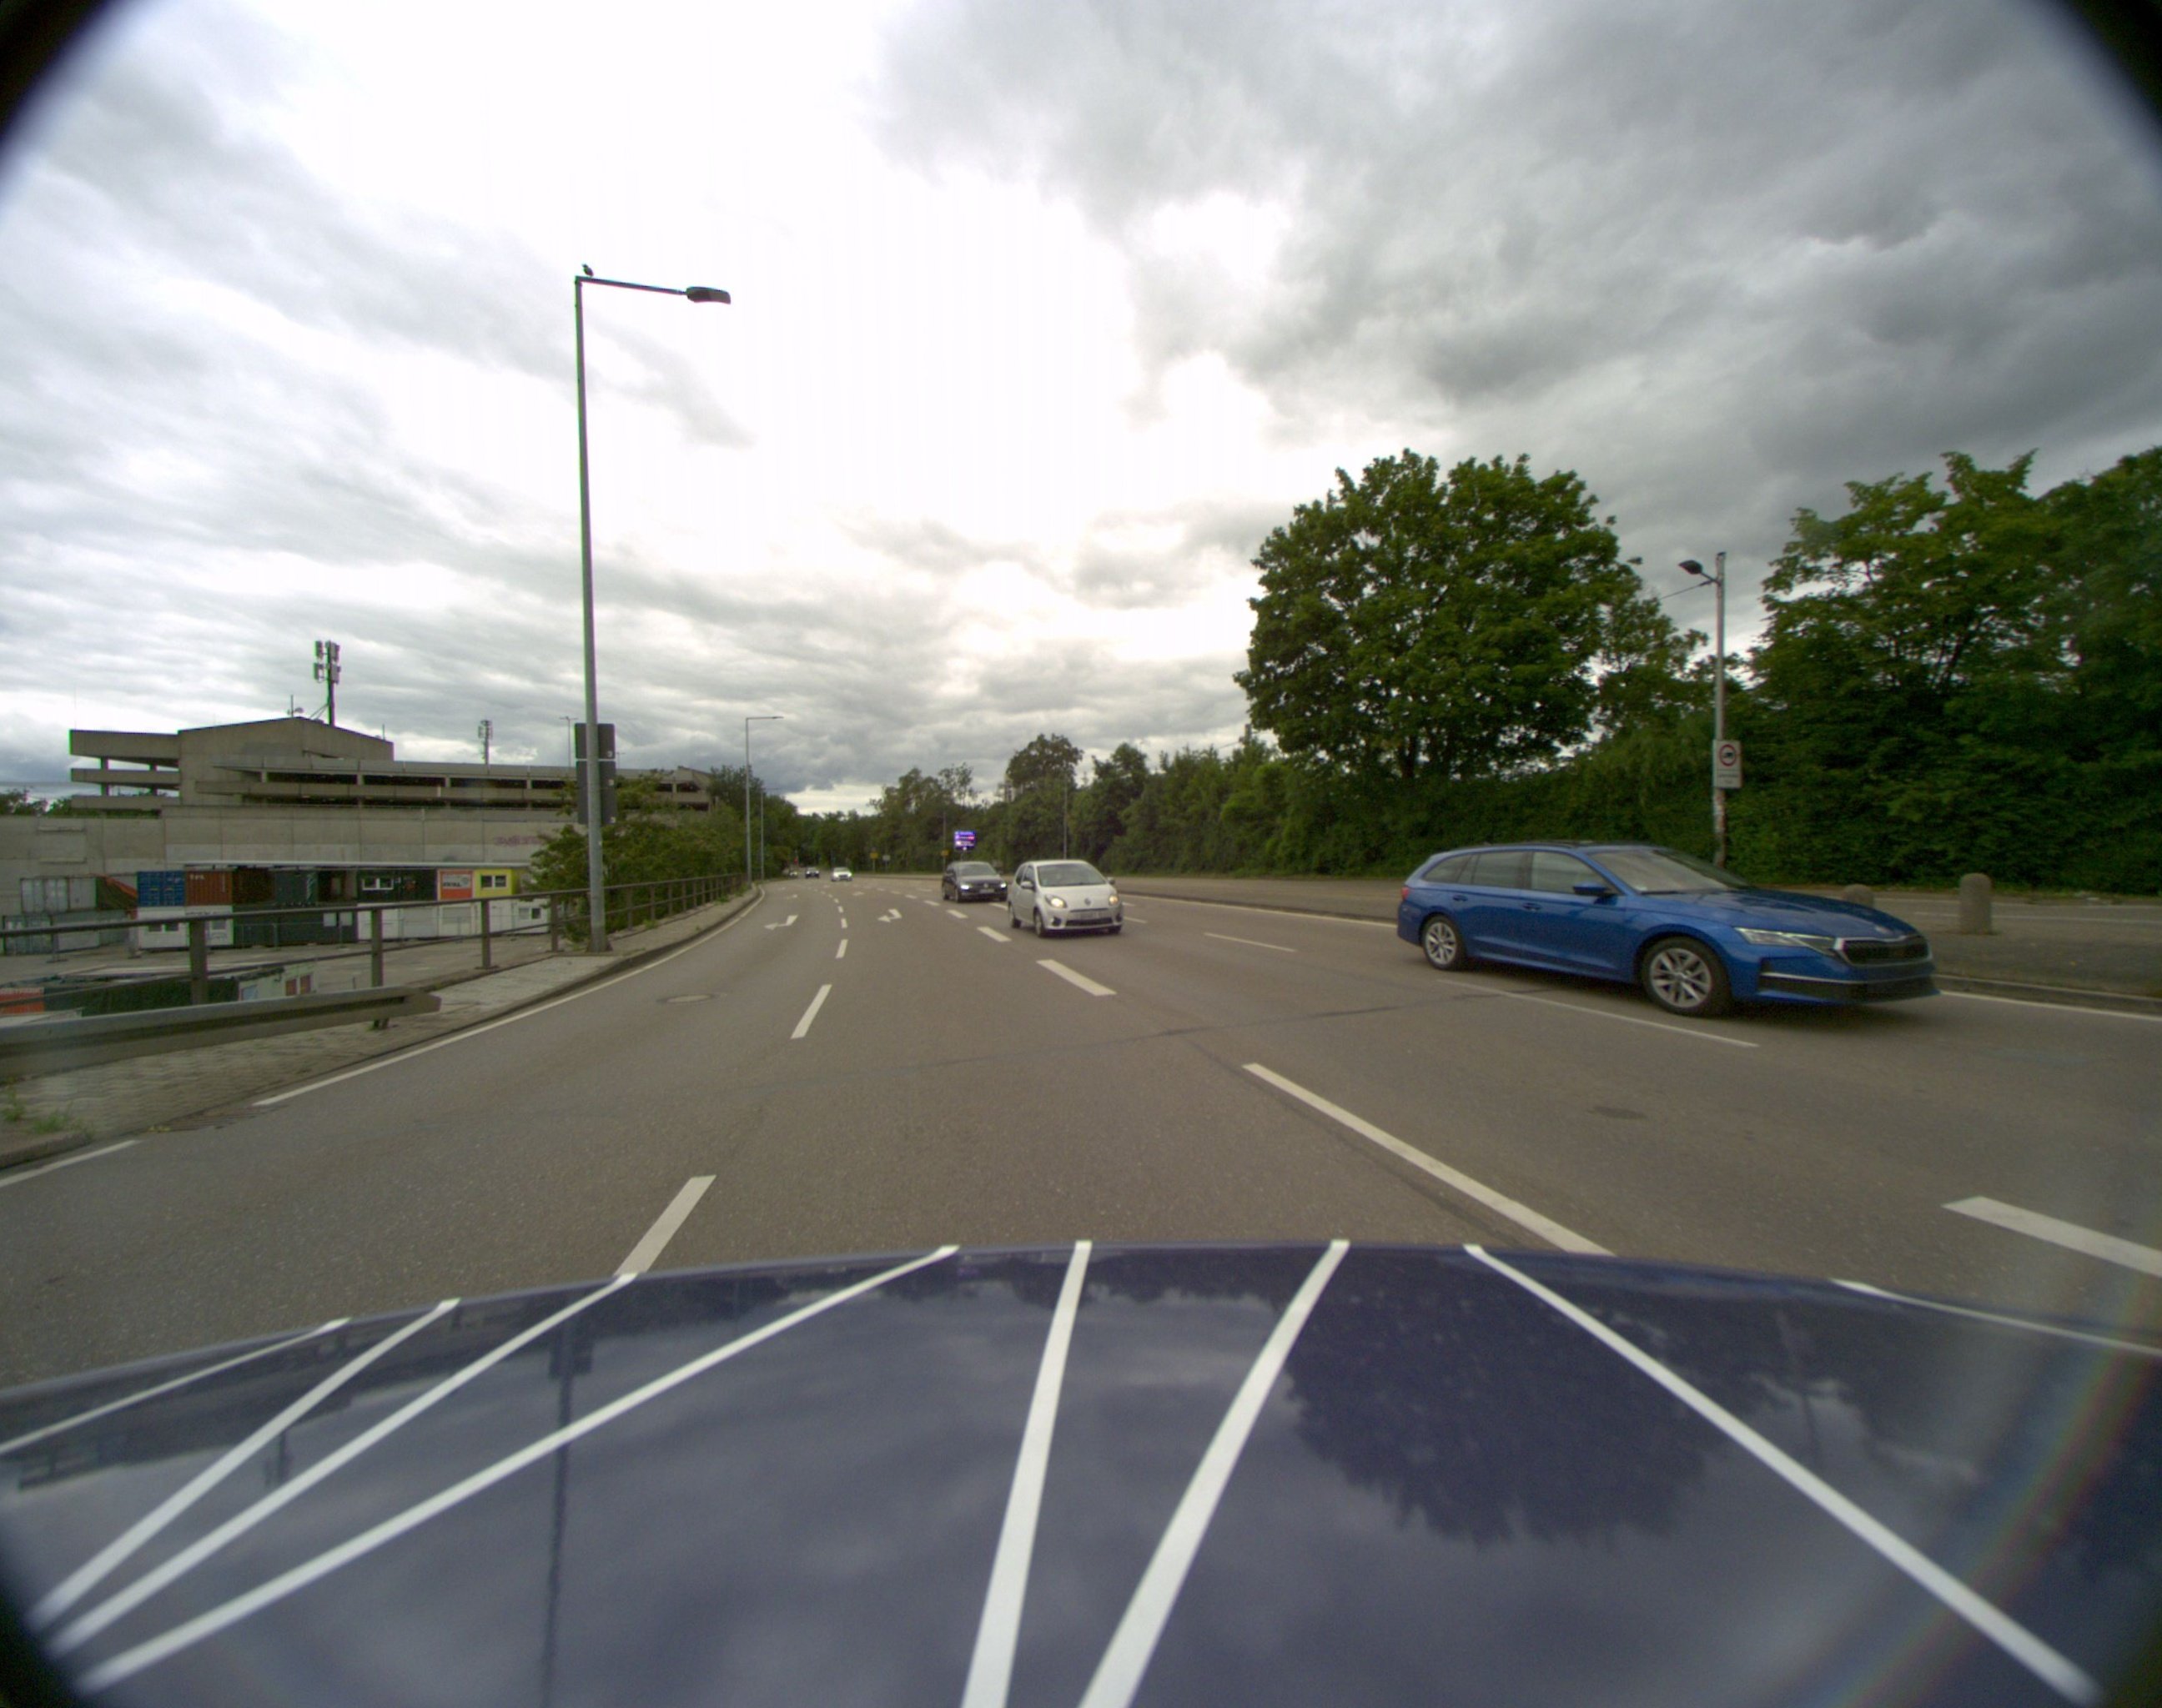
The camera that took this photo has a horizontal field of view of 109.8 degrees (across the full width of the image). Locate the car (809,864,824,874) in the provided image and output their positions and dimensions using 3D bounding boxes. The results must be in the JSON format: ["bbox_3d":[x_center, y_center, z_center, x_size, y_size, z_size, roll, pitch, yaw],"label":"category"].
[{"bbox_3d":[-40.343,2.325,116.030,1.868,1.408,4.330,-2,0,-23],"label":"car"}]

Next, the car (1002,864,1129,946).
[{"bbox_3d":[-0.440,0.937,15.512,1.611,1.408,3.586,-2,0,-17],"label":"car"}]

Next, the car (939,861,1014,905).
[{"bbox_3d":[-3.917,0.990,27.807,1.867,1.408,4.331,-2,0,-19],"label":"car"}]

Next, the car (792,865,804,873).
[{"bbox_3d":[-65.199,3.457,175.022,2.002,1.696,3.993,-5,0,-25],"label":"car"}]

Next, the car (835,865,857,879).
[{"bbox_3d":[-24.574,1.853,79.372,1.867,1.408,4.331,-2,0,-20],"label":"car"}]

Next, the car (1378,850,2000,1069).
[{"bbox_3d":[5.232,0.724,7.529,1.844,1.408,4.574,-2,0,-16],"label":"car"}]
